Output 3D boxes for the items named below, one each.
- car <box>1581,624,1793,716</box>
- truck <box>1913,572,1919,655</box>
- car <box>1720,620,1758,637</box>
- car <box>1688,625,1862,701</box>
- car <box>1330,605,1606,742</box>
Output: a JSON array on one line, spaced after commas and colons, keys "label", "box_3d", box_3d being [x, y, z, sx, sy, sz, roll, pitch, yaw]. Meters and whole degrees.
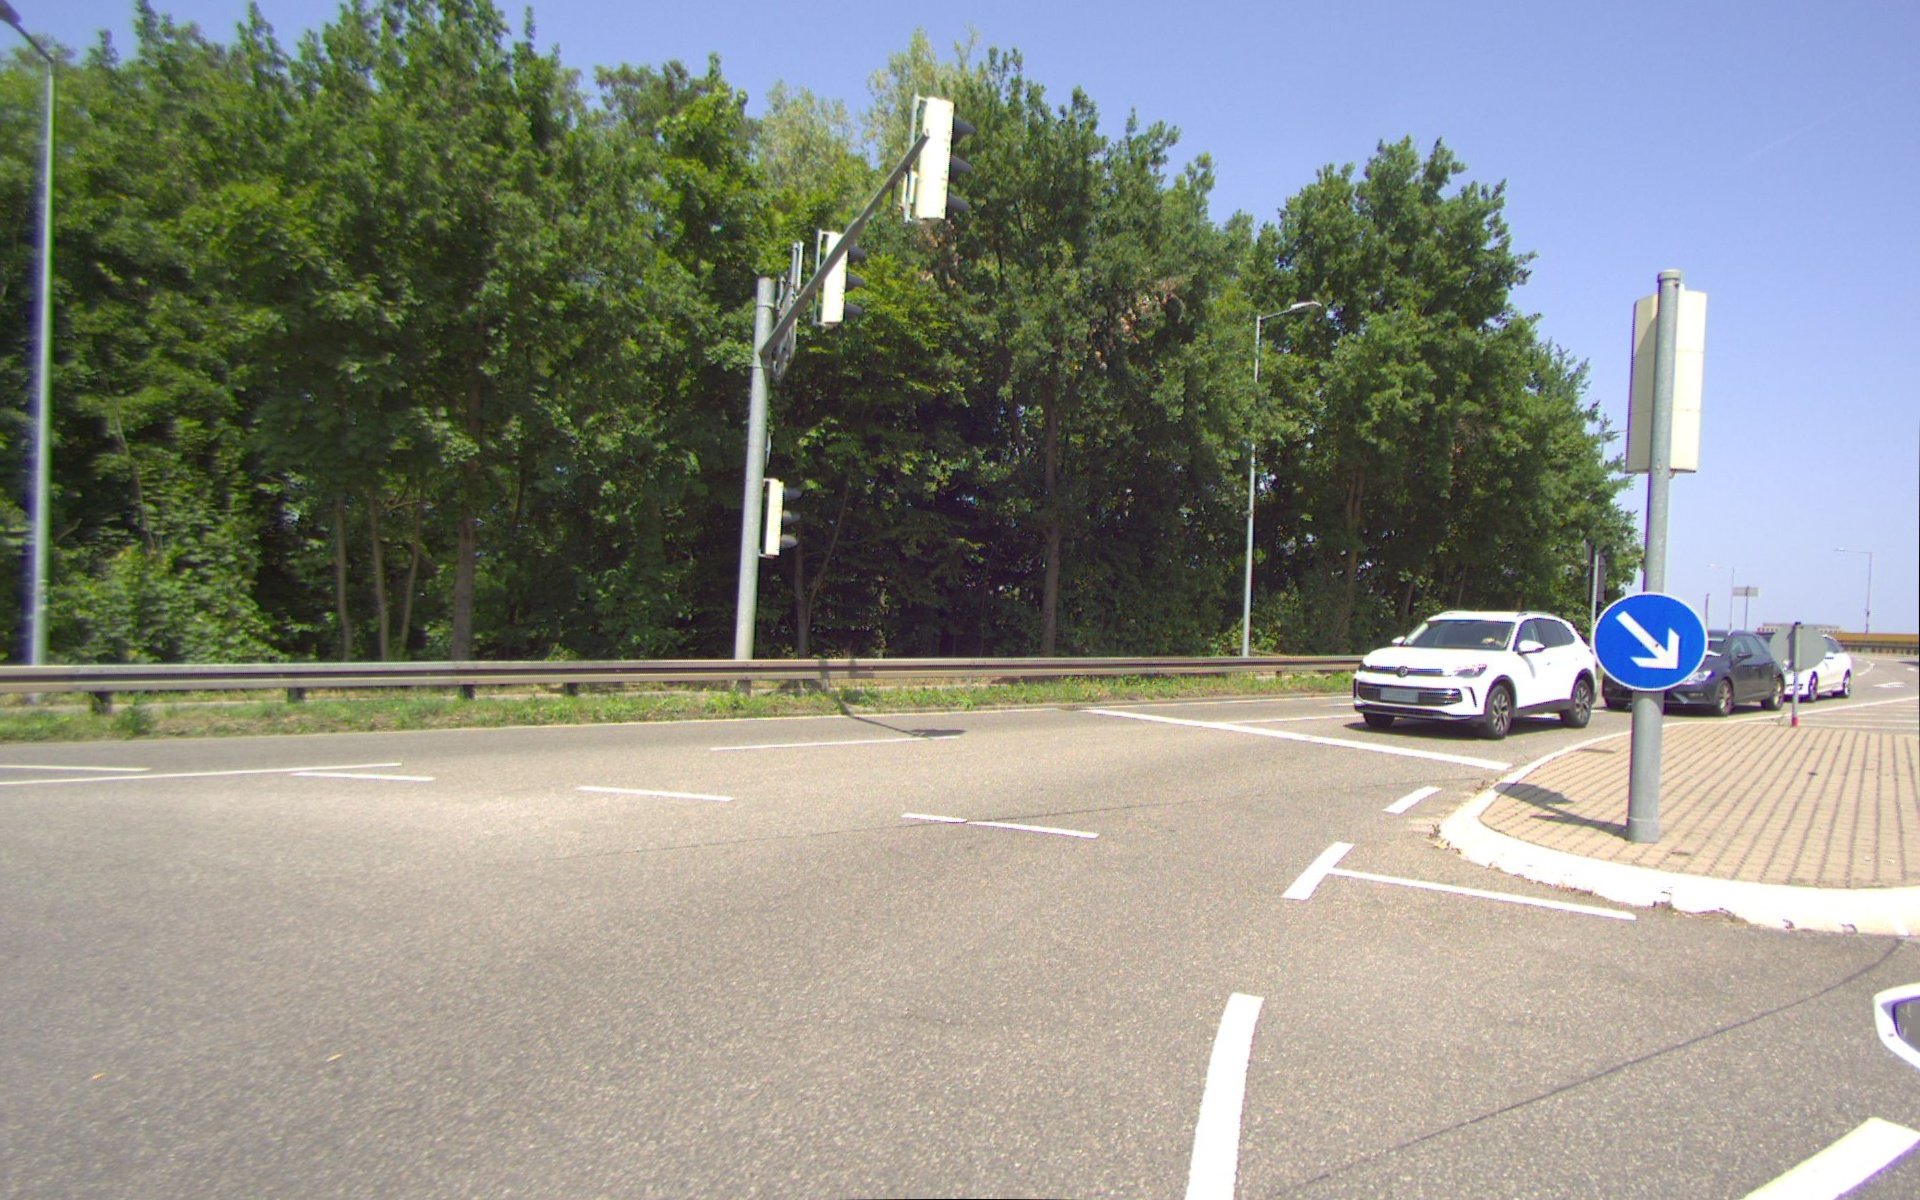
[{"label": "car", "box_3d": [13.046, 1.186, 17.938, 4.504, 1.425, 1.815, 2, -1, -37]}, {"label": "truck", "box_3d": [52.607, 0.729, 52.366, 3.528, 4.500, 6.489, 2, 0, 38]}, {"label": "car", "box_3d": [76.042, 2.787, 98.087, 1.809, 1.528, 3.635, 2, 0, 19]}, {"label": "car", "box_3d": [17.892, 1.328, 21.984, 4.842, 1.425, 1.815, 2, 0, -37]}, {"label": "car", "box_3d": [7.359, 0.964, 14.352, 4.538, 1.660, 1.814, 2, -2, -38]}]
